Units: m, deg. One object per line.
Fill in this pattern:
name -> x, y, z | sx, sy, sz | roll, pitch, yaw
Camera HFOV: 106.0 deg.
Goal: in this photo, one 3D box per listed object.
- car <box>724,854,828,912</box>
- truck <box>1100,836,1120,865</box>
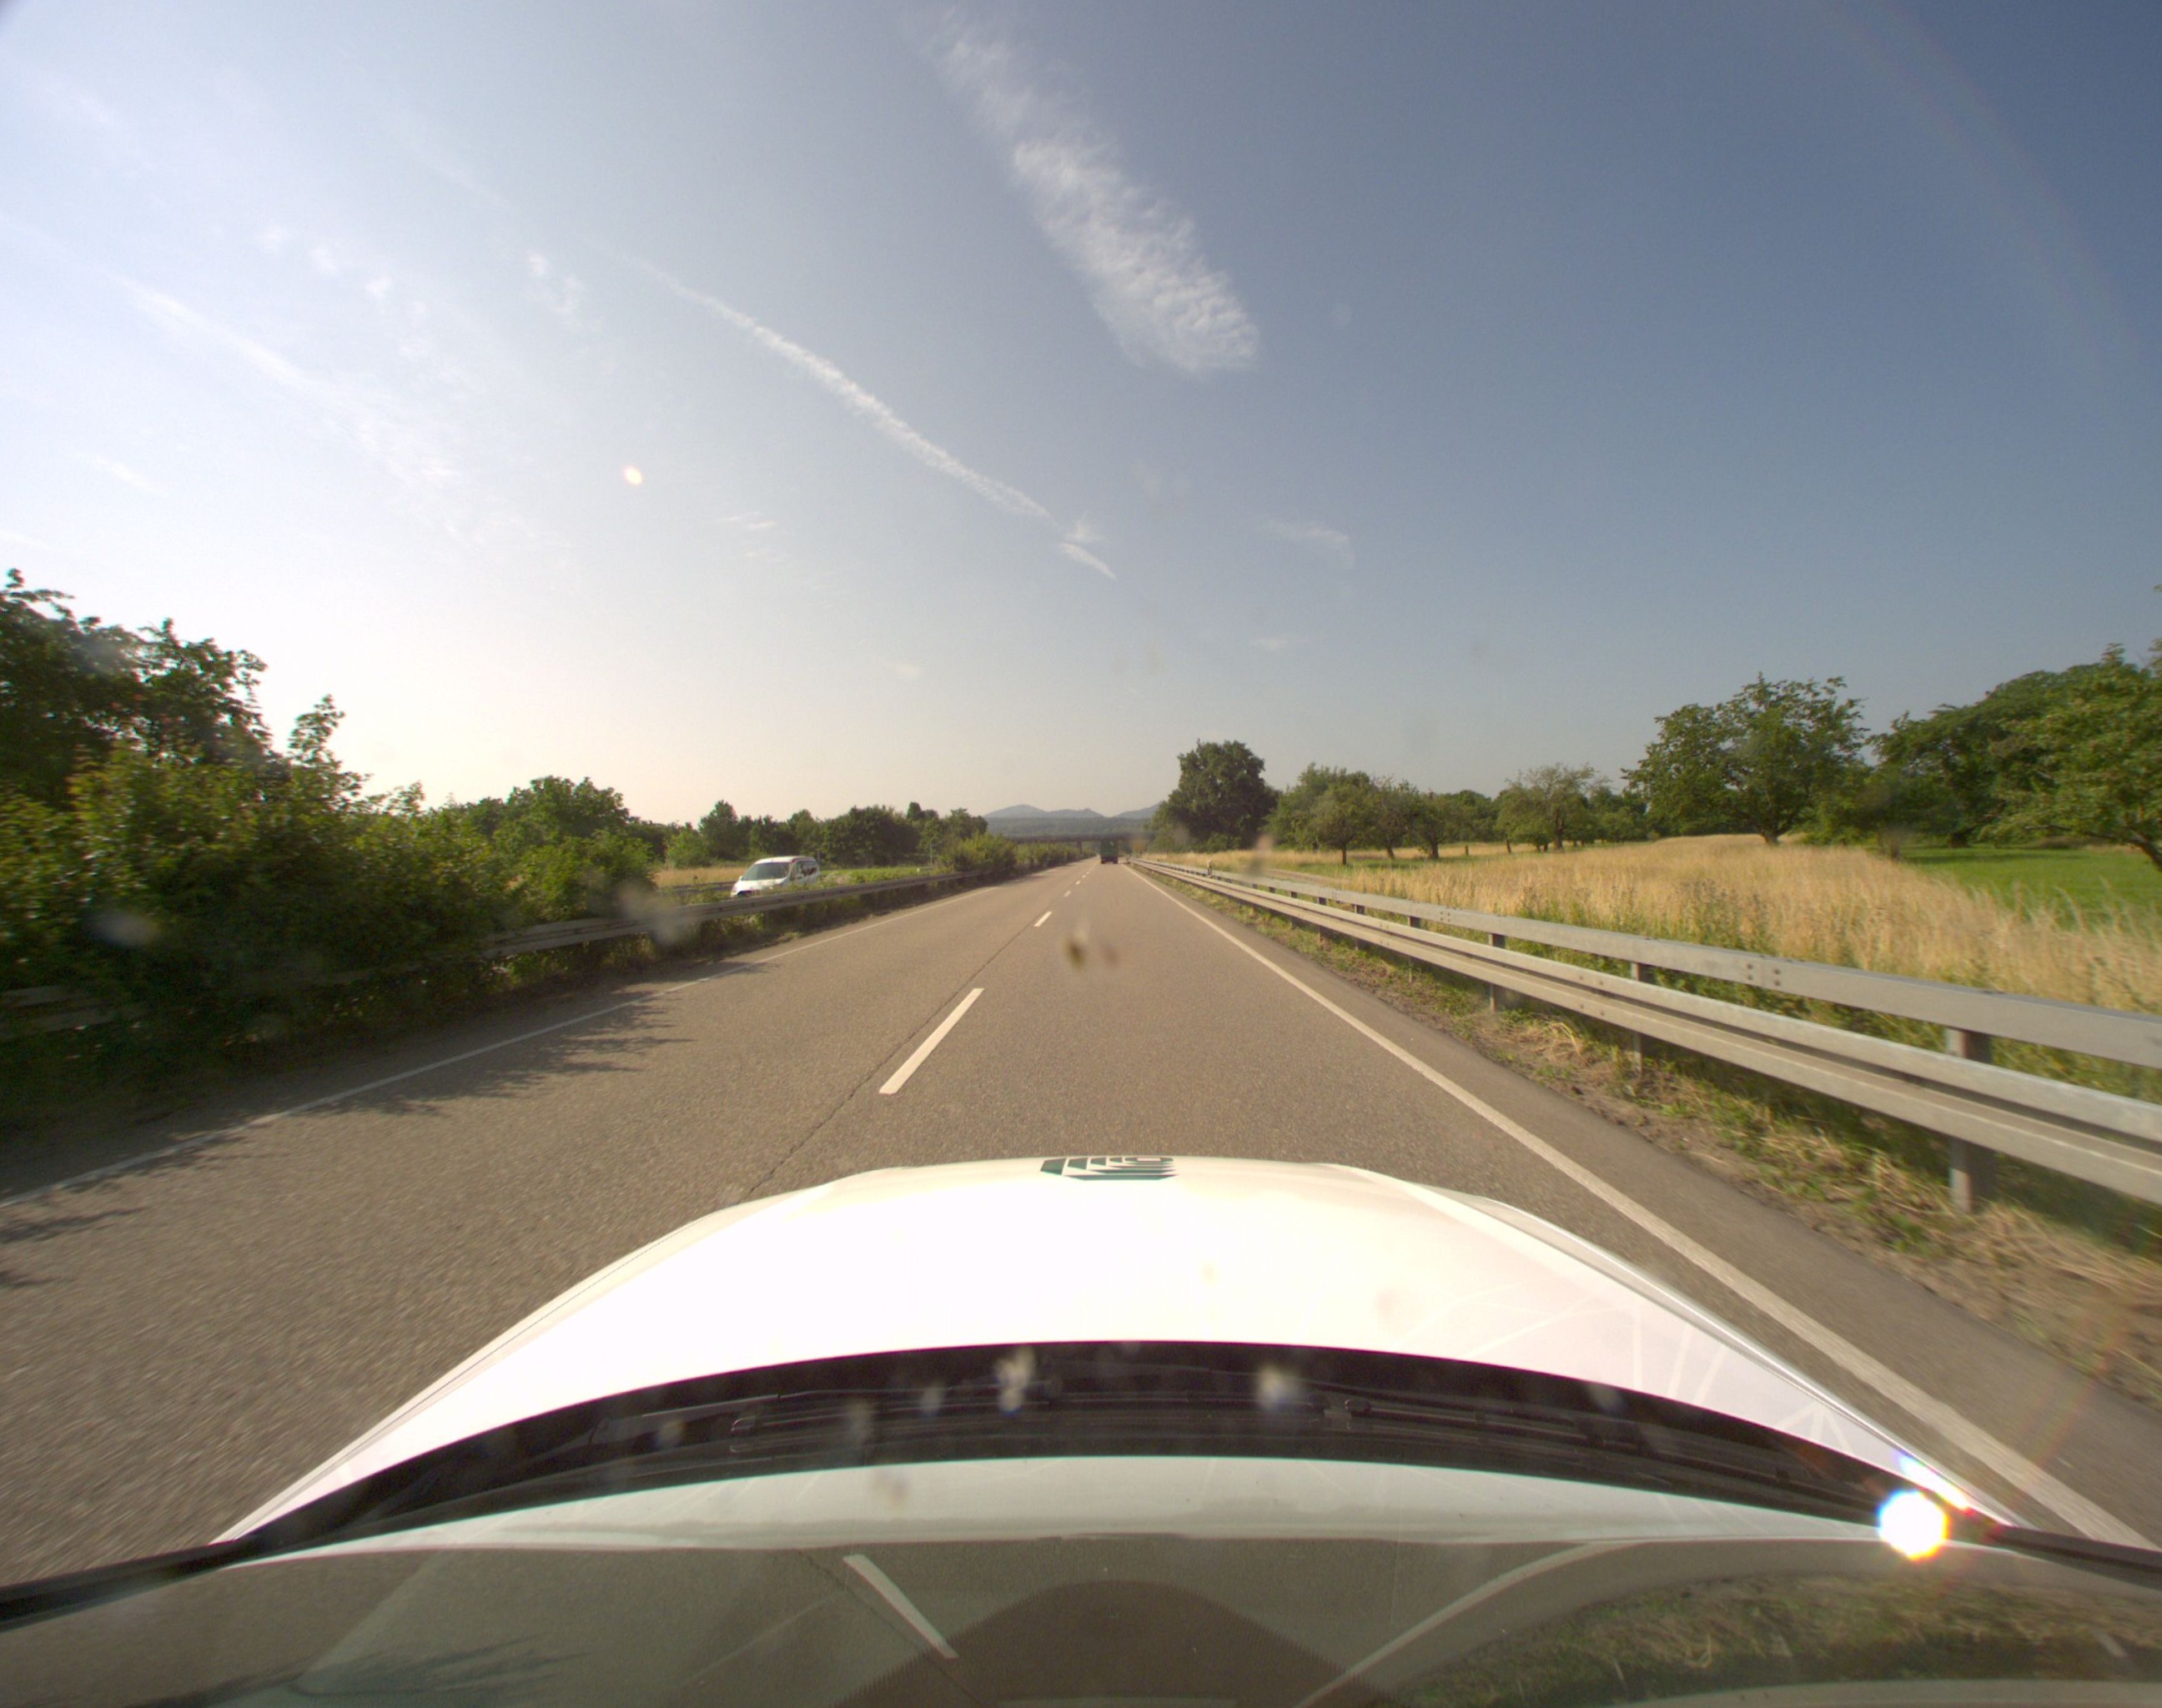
car -> -9.655, 0.865, 26.103 | 1.654, 1.641, 4.002 | -1, 0, 2
truck -> 4.320, -0.621, 120.591 | 2.711, 3.965, 10.422 | 0, 1, 2
